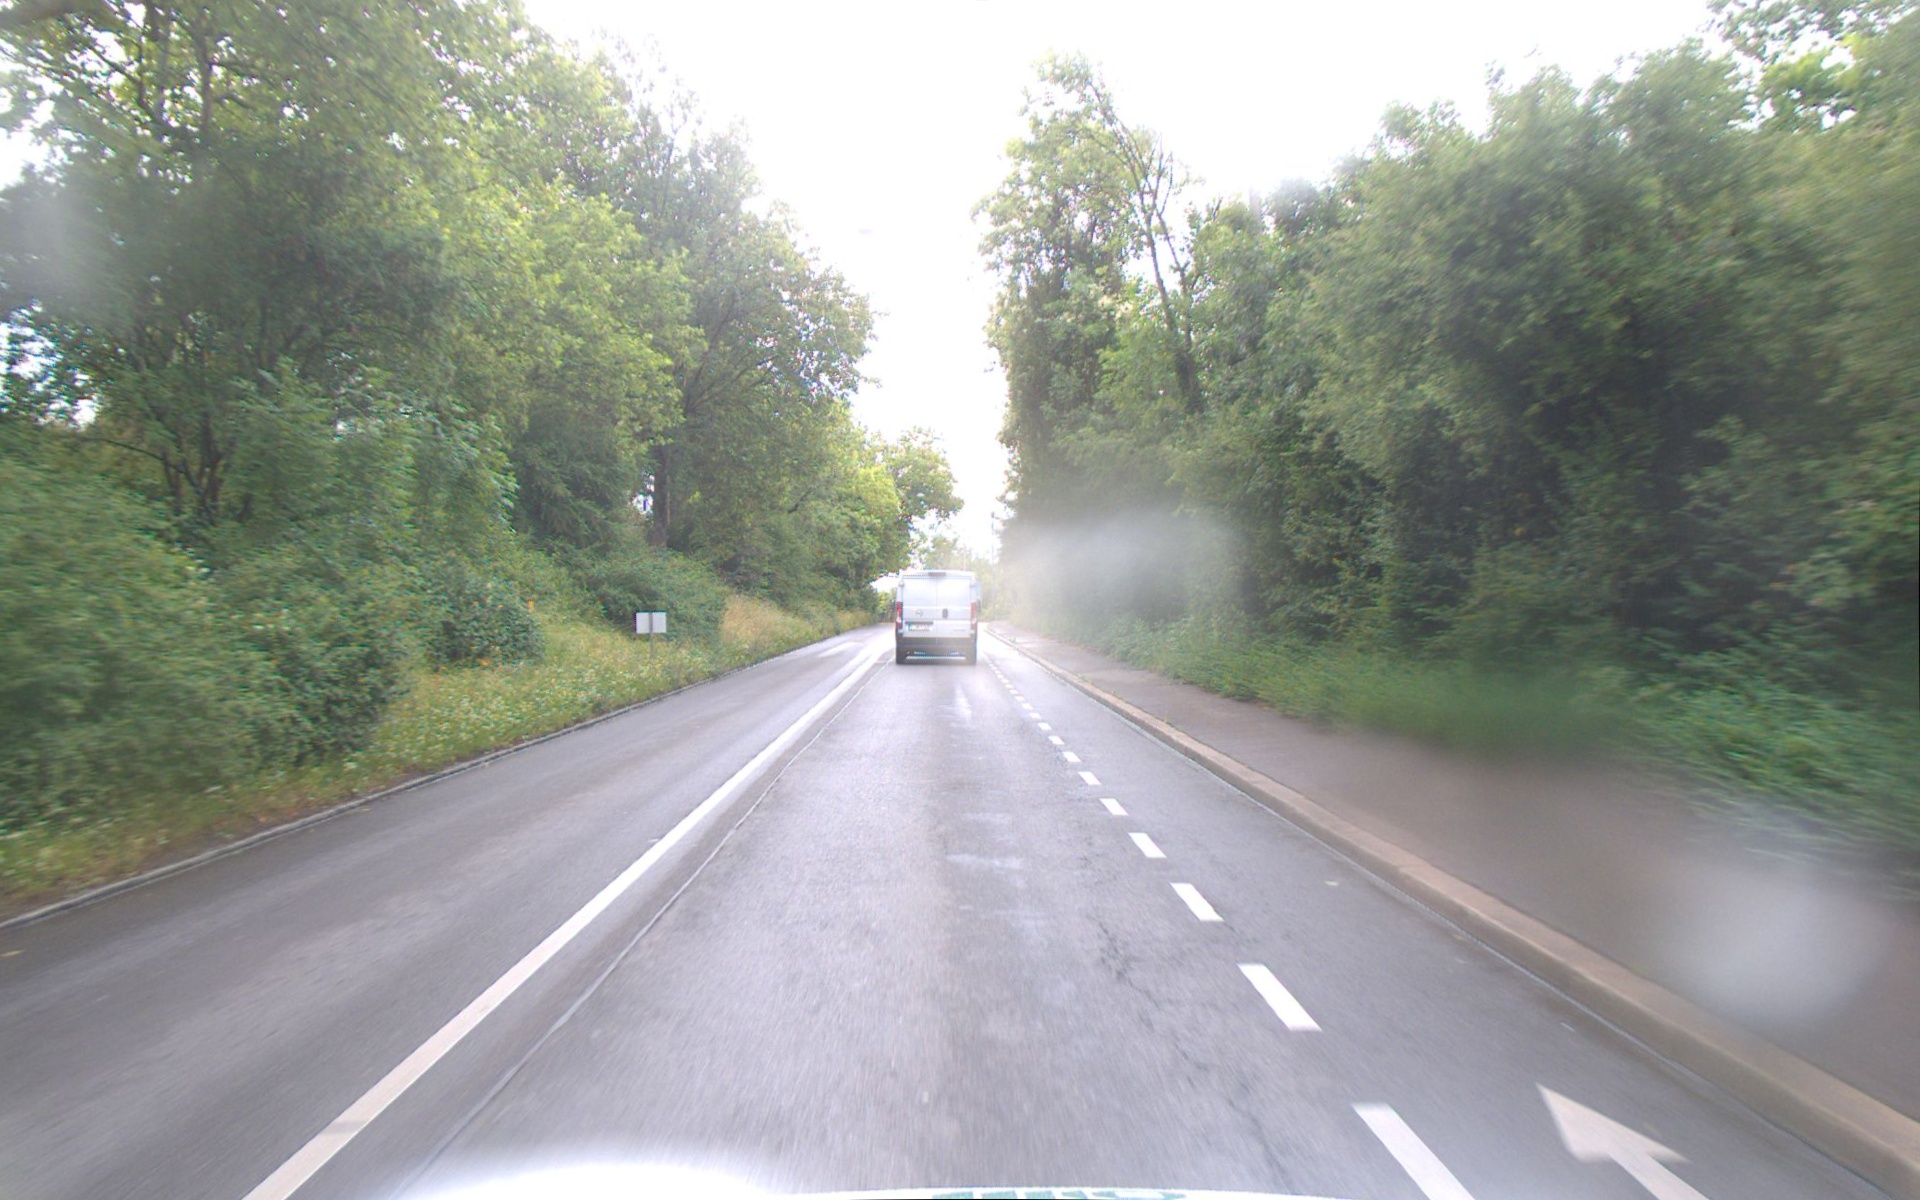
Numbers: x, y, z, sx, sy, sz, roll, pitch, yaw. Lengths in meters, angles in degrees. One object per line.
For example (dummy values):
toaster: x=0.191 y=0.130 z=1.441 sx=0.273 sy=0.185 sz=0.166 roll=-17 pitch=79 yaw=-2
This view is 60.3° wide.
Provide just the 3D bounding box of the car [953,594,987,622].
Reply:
car: x=0.673 y=0.523 z=111.553 sx=2.191 sy=1.836 sz=4.713 roll=1 pitch=0 yaw=0

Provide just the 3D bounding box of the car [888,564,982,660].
car: x=-0.628 y=0.302 z=41.786 sx=2.192 sy=2.252 sz=4.712 roll=1 pitch=0 yaw=-1

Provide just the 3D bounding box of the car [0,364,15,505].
car: x=-14.944 y=-2.466 z=22.667 sx=1.955 sy=2.049 sz=3.995 roll=1 pitch=0 yaw=-6
